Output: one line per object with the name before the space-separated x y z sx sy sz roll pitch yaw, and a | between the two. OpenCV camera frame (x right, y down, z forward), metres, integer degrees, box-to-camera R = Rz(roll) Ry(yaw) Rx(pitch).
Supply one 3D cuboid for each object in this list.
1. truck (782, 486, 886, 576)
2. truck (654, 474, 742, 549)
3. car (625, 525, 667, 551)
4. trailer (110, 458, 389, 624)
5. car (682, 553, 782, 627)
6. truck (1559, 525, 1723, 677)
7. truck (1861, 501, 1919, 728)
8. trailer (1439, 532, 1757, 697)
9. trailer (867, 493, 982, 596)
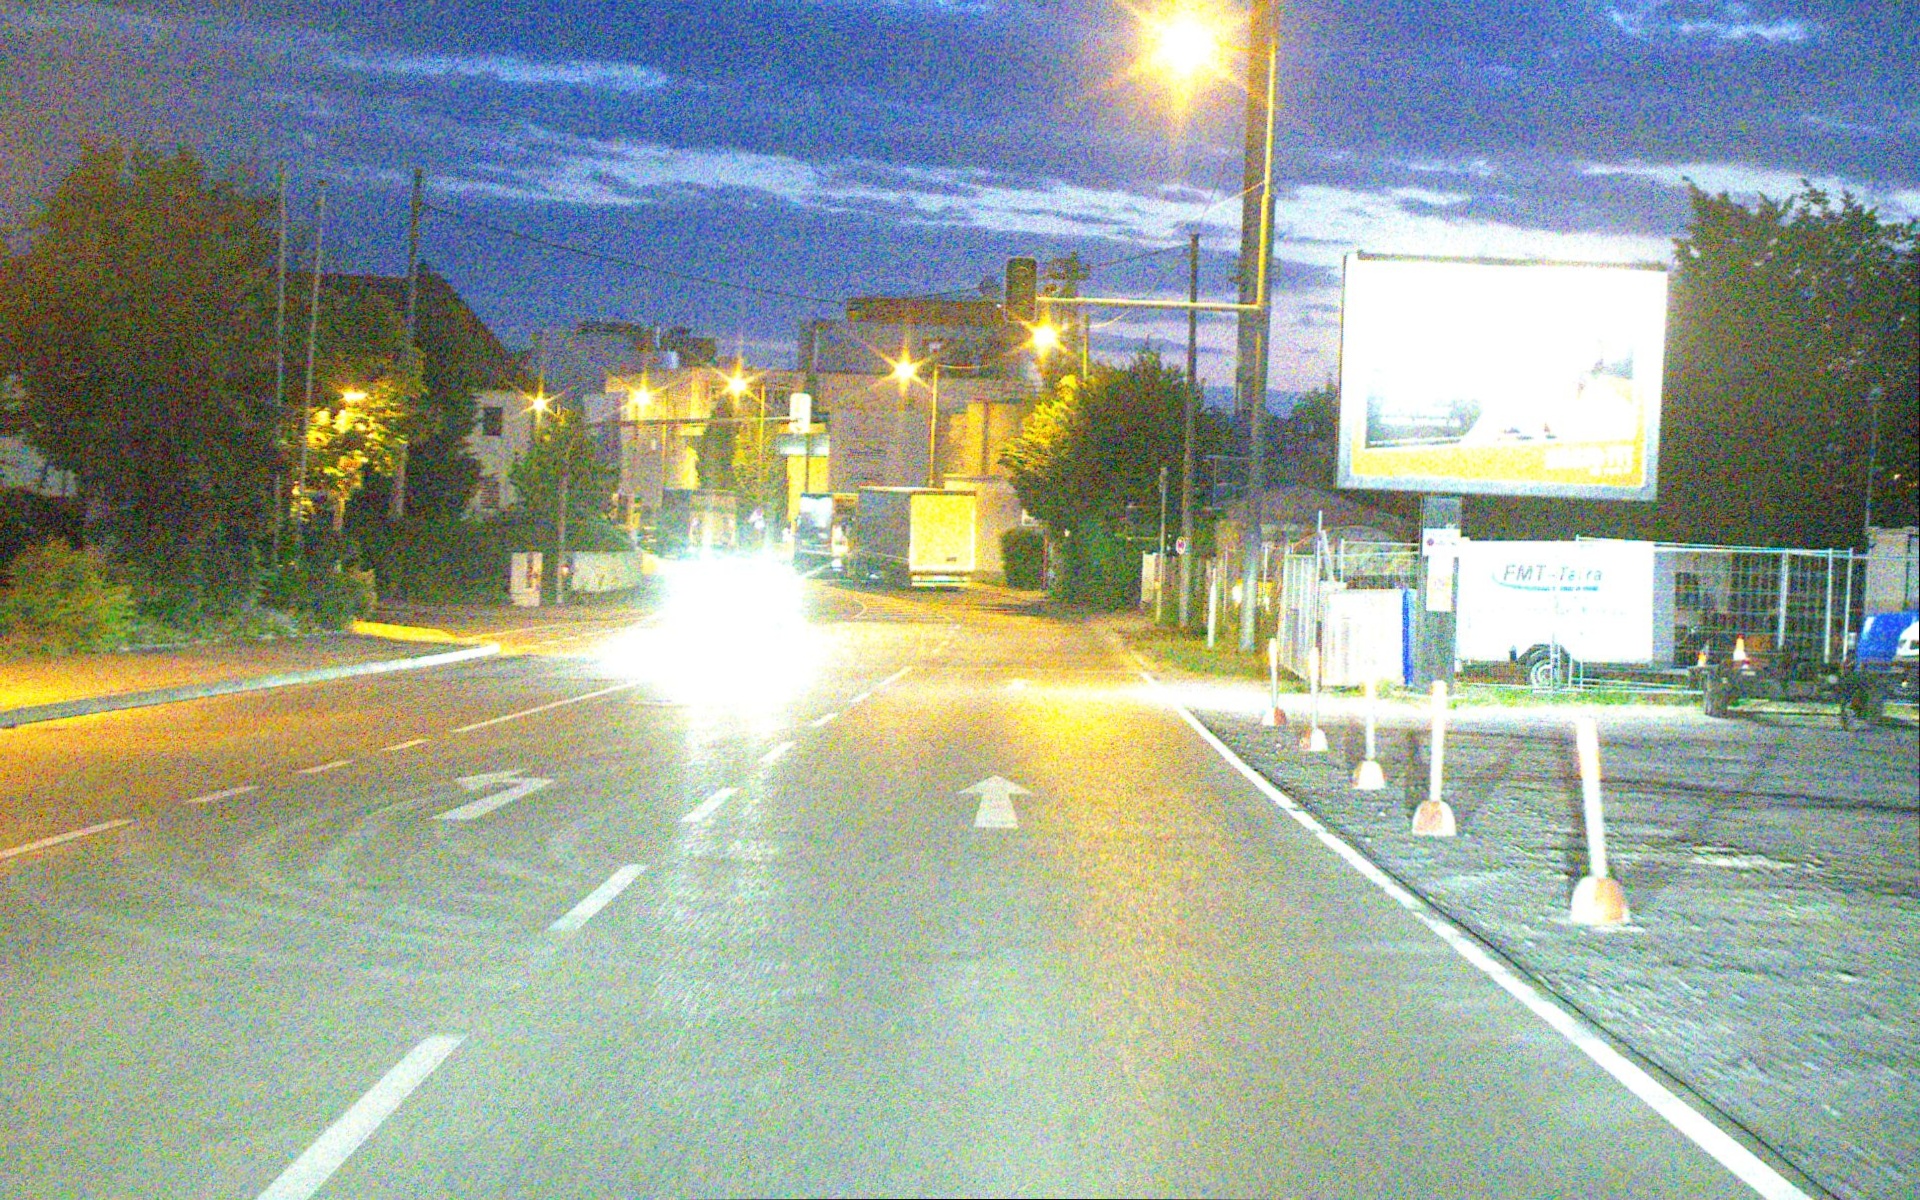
truck | -5.873 -3.215 158.175 2.829 3.969 10.346 1 1 -13
truck | -14.583 -4.916 190.618 3.519 3.969 10.346 1 1 -12
car | -18.790 -3.722 205.421 1.852 1.514 3.819 1 1 -15
trailer | -12.162 -1.025 59.026 4.348 2.710 2.000 1 1 0
car | -5.371 -0.261 81.600 1.993 1.621 4.752 3 1 0
truck | 13.442 -0.005 68.284 2.184 2.739 7.314 3 1 4
truck | 13.720 0.272 40.316 5.530 2.591 2.472 3 1 0
trailer | 8.323 0.157 44.872 3.752 2.007 1.612 2 1 25
trailer | -1.591 -2.368 141.227 2.808 3.969 13.979 1 1 -8
